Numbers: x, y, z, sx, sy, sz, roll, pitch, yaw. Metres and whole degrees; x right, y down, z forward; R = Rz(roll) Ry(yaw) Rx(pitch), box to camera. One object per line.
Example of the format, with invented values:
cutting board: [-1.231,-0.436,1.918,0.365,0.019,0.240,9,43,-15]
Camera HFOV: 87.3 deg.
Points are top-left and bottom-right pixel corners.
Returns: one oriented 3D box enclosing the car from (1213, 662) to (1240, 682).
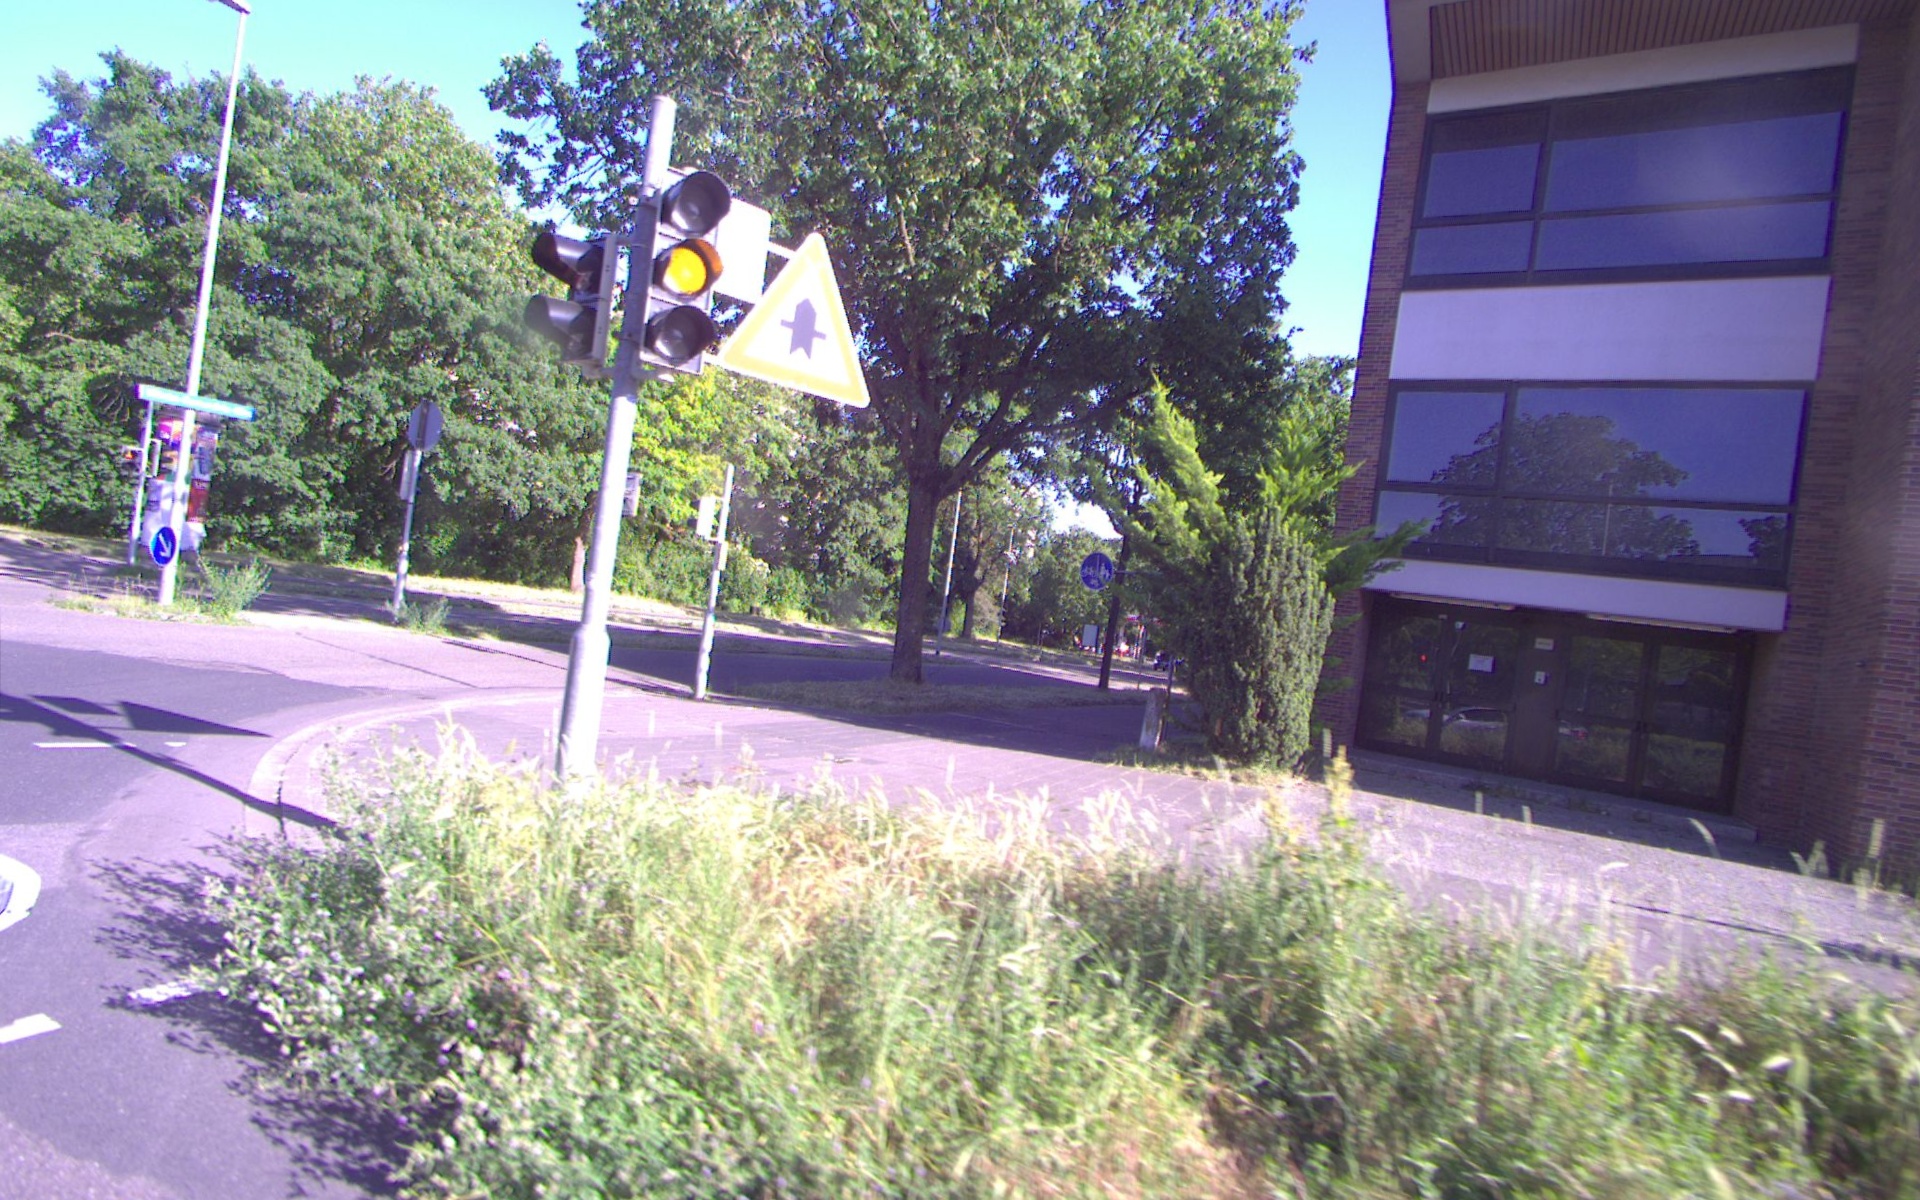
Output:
car: [22.776,6.161,85.860,1.636,1.351,3.668,7,-3,23]

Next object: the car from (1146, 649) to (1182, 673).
car: [17.943,5.366,88.343,1.813,1.728,4.502,7,-2,27]
